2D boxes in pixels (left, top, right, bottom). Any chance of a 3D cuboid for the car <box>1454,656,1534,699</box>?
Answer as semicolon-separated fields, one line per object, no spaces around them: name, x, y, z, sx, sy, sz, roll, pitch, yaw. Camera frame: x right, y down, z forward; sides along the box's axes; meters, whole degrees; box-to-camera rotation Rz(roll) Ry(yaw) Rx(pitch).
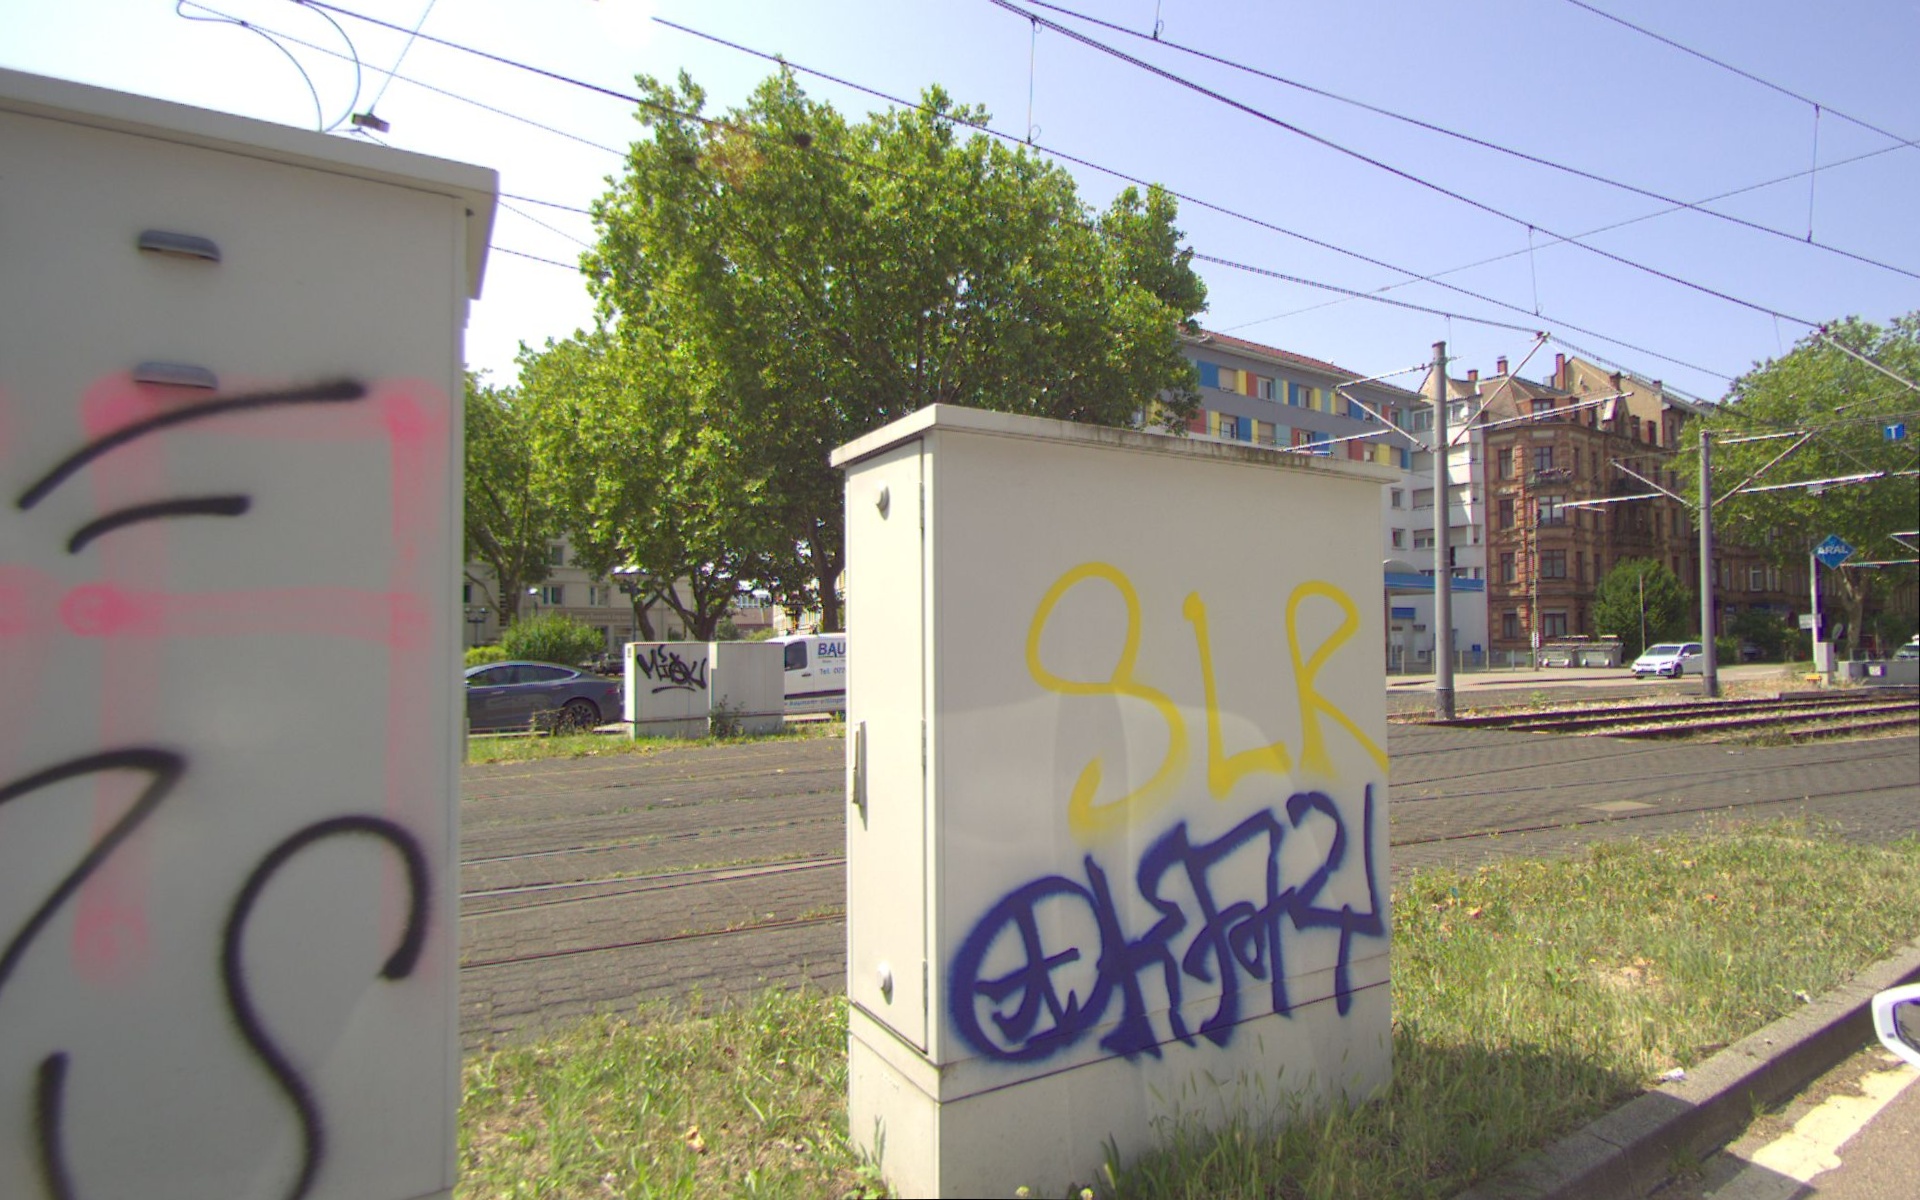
car;23.058;3.300;43.330;3.671;1.706;1.643;2;-2;-36

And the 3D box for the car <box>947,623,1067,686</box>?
car;1.979;2.196;41.080;4.938;2.424;1.833;2;-3;-39

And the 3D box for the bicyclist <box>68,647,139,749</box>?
bicyclist;-14.869;1.682;17.460;0.861;1.708;0.633;2;-2;-38

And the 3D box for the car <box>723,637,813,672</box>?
car;-11.503;3.245;60.285;5.066;2.016;1.901;2;-3;-40

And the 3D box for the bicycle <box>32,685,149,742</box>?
bicycle;-14.997;1.944;17.371;1.469;0.894;0.492;2;-2;-38

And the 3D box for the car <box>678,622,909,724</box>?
car;-3.582;1.552;22.114;4.759;2.017;1.765;2;-3;-37

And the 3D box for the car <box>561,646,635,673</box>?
car;-22.520;3.687;62.539;3.961;1.631;1.980;2;-3;-36

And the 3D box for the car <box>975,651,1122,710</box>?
car;2.355;2.080;26.409;3.745;1.438;1.586;2;-5;-36

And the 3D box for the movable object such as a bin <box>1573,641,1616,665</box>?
movable object such as a bin;38.217;3.163;60.482;1.456;1.403;1.770;1;-3;-37

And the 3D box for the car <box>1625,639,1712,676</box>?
car;33.167;2.714;46.991;4.555;1.646;1.836;2;-4;-34

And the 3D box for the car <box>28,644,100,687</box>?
car;-31.176;2.245;35.029;1.458;1.402;3.312;2;-3;-35

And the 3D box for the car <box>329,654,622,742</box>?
car;-8.816;1.711;18.459;4.585;1.377;1.934;2;-3;-36

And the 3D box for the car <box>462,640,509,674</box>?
car;-28.469;3.382;60.198;2.141;1.975;3.967;2;-2;-31

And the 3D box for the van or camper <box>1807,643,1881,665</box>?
van or camper;78.010;4.750;88.715;1.908;1.860;4.525;2;-3;-28

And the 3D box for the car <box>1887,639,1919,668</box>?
car;65.289;3.678;68.767;4.676;1.929;1.978;2;-3;-38
